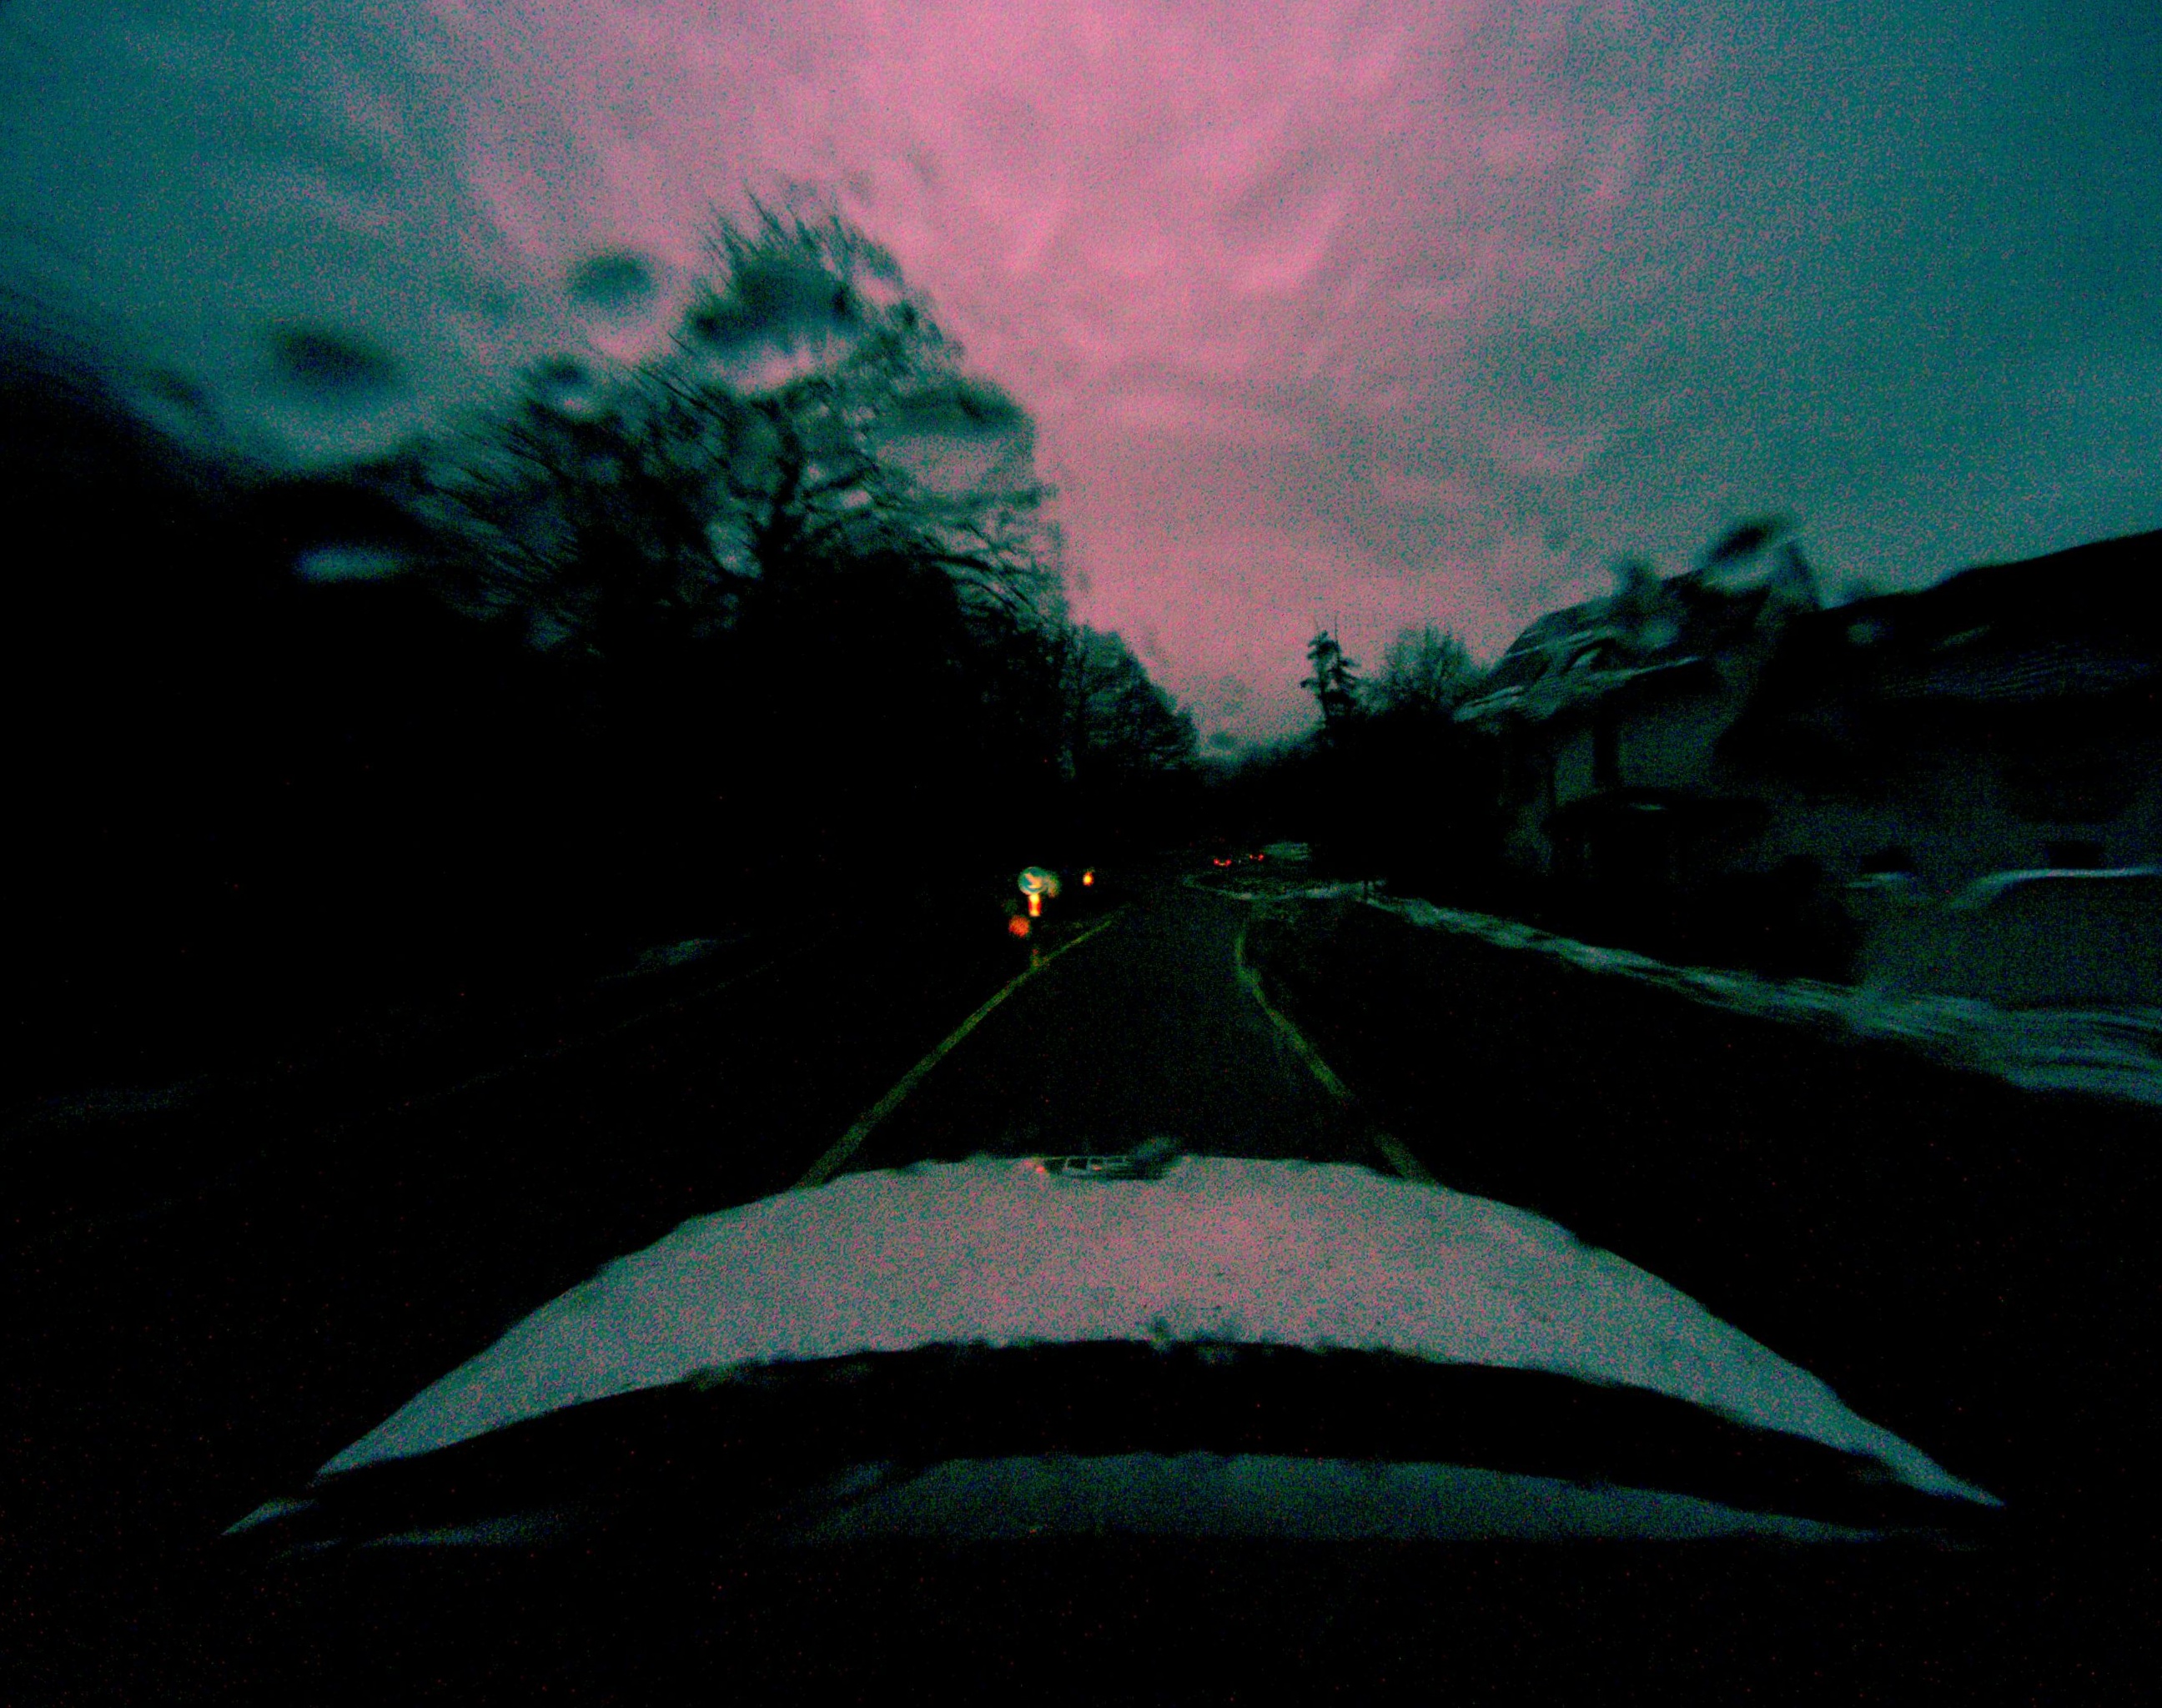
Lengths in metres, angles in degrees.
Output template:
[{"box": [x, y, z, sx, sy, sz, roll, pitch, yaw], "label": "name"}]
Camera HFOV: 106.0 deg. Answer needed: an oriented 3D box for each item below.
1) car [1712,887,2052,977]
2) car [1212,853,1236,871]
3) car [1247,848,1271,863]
[{"box": [16.415, 1.516, 17.100, 4.846, 1.488, 1.965, -1, 0, 42], "label": "car"}, {"box": [14.974, 0.779, 85.194, 1.917, 1.781, 4.019, -1, 0, 18], "label": "car"}, {"box": [21.204, 0.148, 96.854, 1.915, 1.676, 4.023, -1, 0, 25], "label": "car"}]
